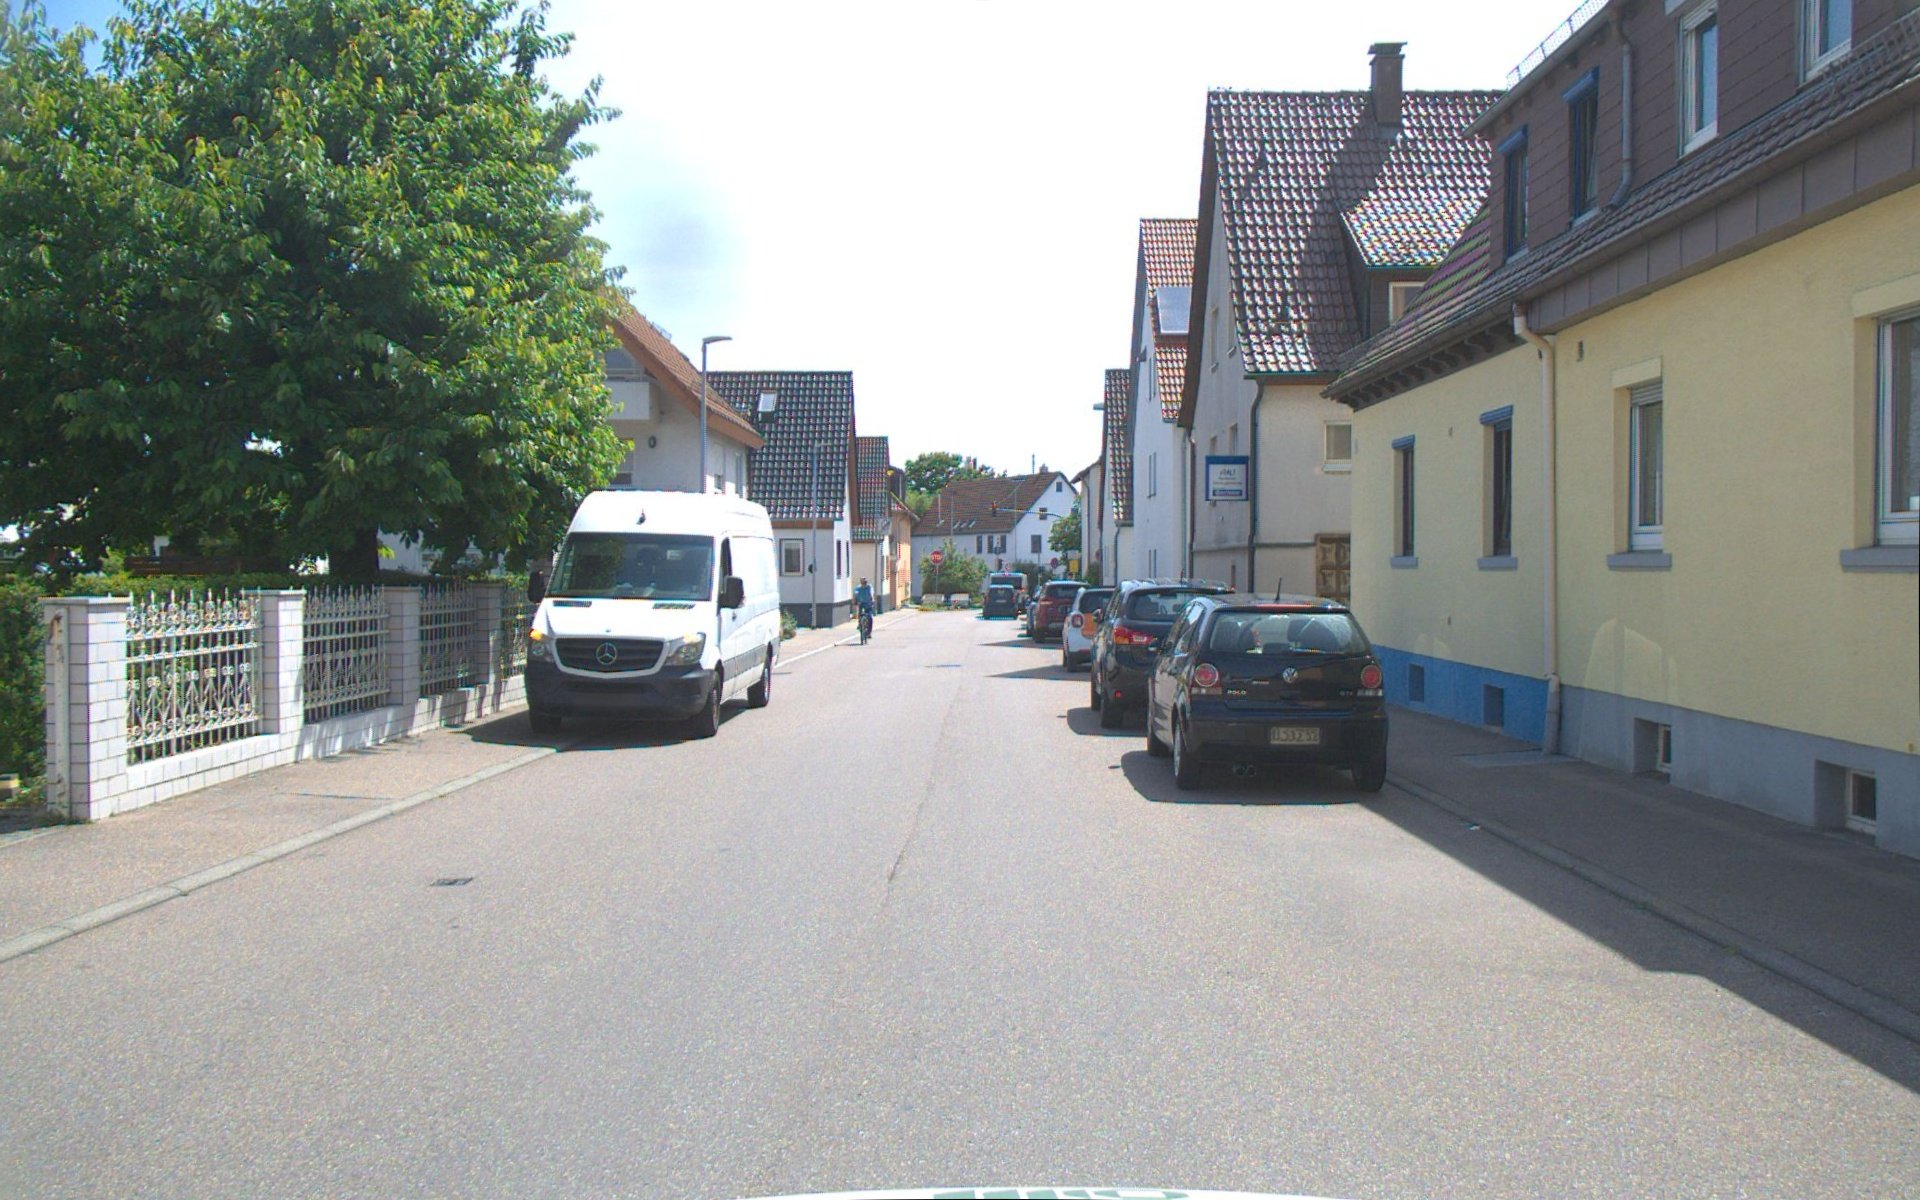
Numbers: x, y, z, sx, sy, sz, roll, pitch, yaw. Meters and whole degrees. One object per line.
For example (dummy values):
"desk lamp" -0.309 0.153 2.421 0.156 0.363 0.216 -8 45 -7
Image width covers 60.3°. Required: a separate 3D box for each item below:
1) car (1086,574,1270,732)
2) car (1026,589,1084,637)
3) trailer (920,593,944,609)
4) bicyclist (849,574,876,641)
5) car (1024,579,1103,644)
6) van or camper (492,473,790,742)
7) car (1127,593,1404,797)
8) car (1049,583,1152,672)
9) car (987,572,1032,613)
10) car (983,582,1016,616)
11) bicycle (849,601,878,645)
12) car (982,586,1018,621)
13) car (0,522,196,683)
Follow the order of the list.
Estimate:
"car" 2.440 0.533 19.431 1.693 1.627 4.254 1 1 1
"car" 2.981 0.384 52.589 1.726 1.448 4.593 0 0 2
"trailer" -1.827 0.050 107.424 1.470 0.943 1.013 2 0 2
"bicyclist" -2.665 0.195 45.419 0.698 1.830 0.942 0 0 -1
"car" 2.849 0.293 46.296 1.837 1.730 4.182 1 1 -1
"van or camper" -3.495 0.042 19.700 2.139 2.616 6.808 1 1 1
"car" 2.428 0.687 13.987 1.578 1.456 3.753 1 1 -1
"car" 2.620 0.477 31.371 1.639 1.586 3.040 1 1 -1
"car" 2.765 -0.446 91.708 2.083 2.196 4.740 0 0 7
"car" 1.979 -0.071 82.483 1.484 1.653 3.186 -1 0 4
"bicycle" -2.628 0.618 45.307 0.656 1.152 2.189 0 0 0
"car" 1.902 0.133 77.430 1.484 1.594 3.186 1 0 4
"car" -15.379 0.038 27.173 4.705 2.536 1.965 0 0 -1
